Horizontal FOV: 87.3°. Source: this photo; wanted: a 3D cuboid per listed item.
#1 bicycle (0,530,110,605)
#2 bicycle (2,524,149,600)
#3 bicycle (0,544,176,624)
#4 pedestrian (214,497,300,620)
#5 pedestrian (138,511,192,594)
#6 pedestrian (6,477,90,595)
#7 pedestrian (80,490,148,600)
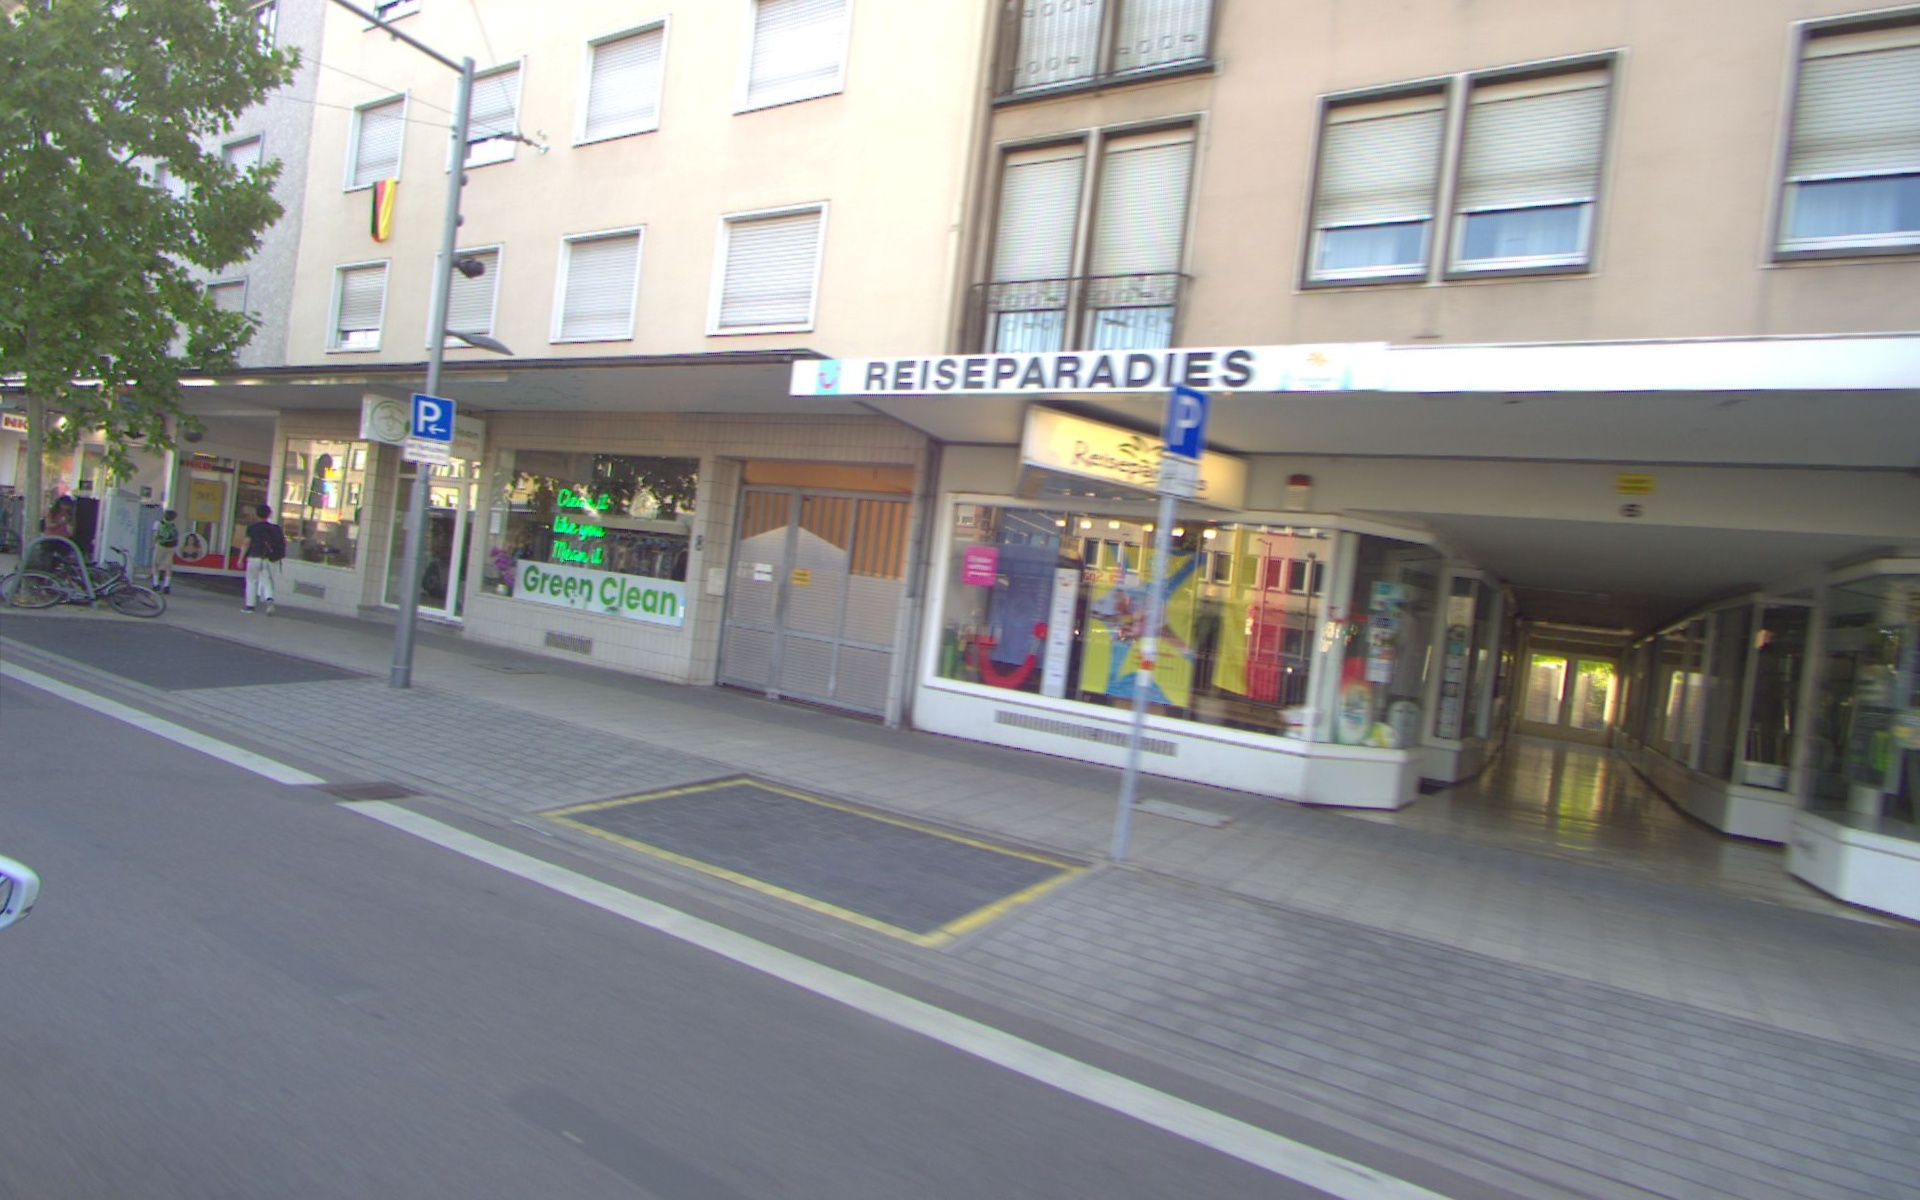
[{"bbox_3d":[-13.126,-0.447,13.970,0.927,0.636,1.786,-29,1,2],"label":"bicycle"},{"bbox_3d":[-12.528,-0.504,14.325,0.641,0.954,1.695,-2,-1,-3],"label":"bicycle"},{"bbox_3d":[-11.705,-0.204,13.431,0.780,0.955,1.783,6,3,27],"label":"bicycle"},{"bbox_3d":[-11.064,-0.647,15.841,0.754,1.817,0.724,6,0,31],"label":"pedestrian"},{"bbox_3d":[-14.313,-0.856,18.111,0.601,1.411,0.475,6,0,32],"label":"pedestrian"},{"bbox_3d":[-15.138,-1.057,16.700,0.754,1.817,0.724,6,0,31],"label":"pedestrian"},{"bbox_3d":[-14.811,-0.964,17.617,0.754,1.817,0.565,6,0,32],"label":"pedestrian"}]
